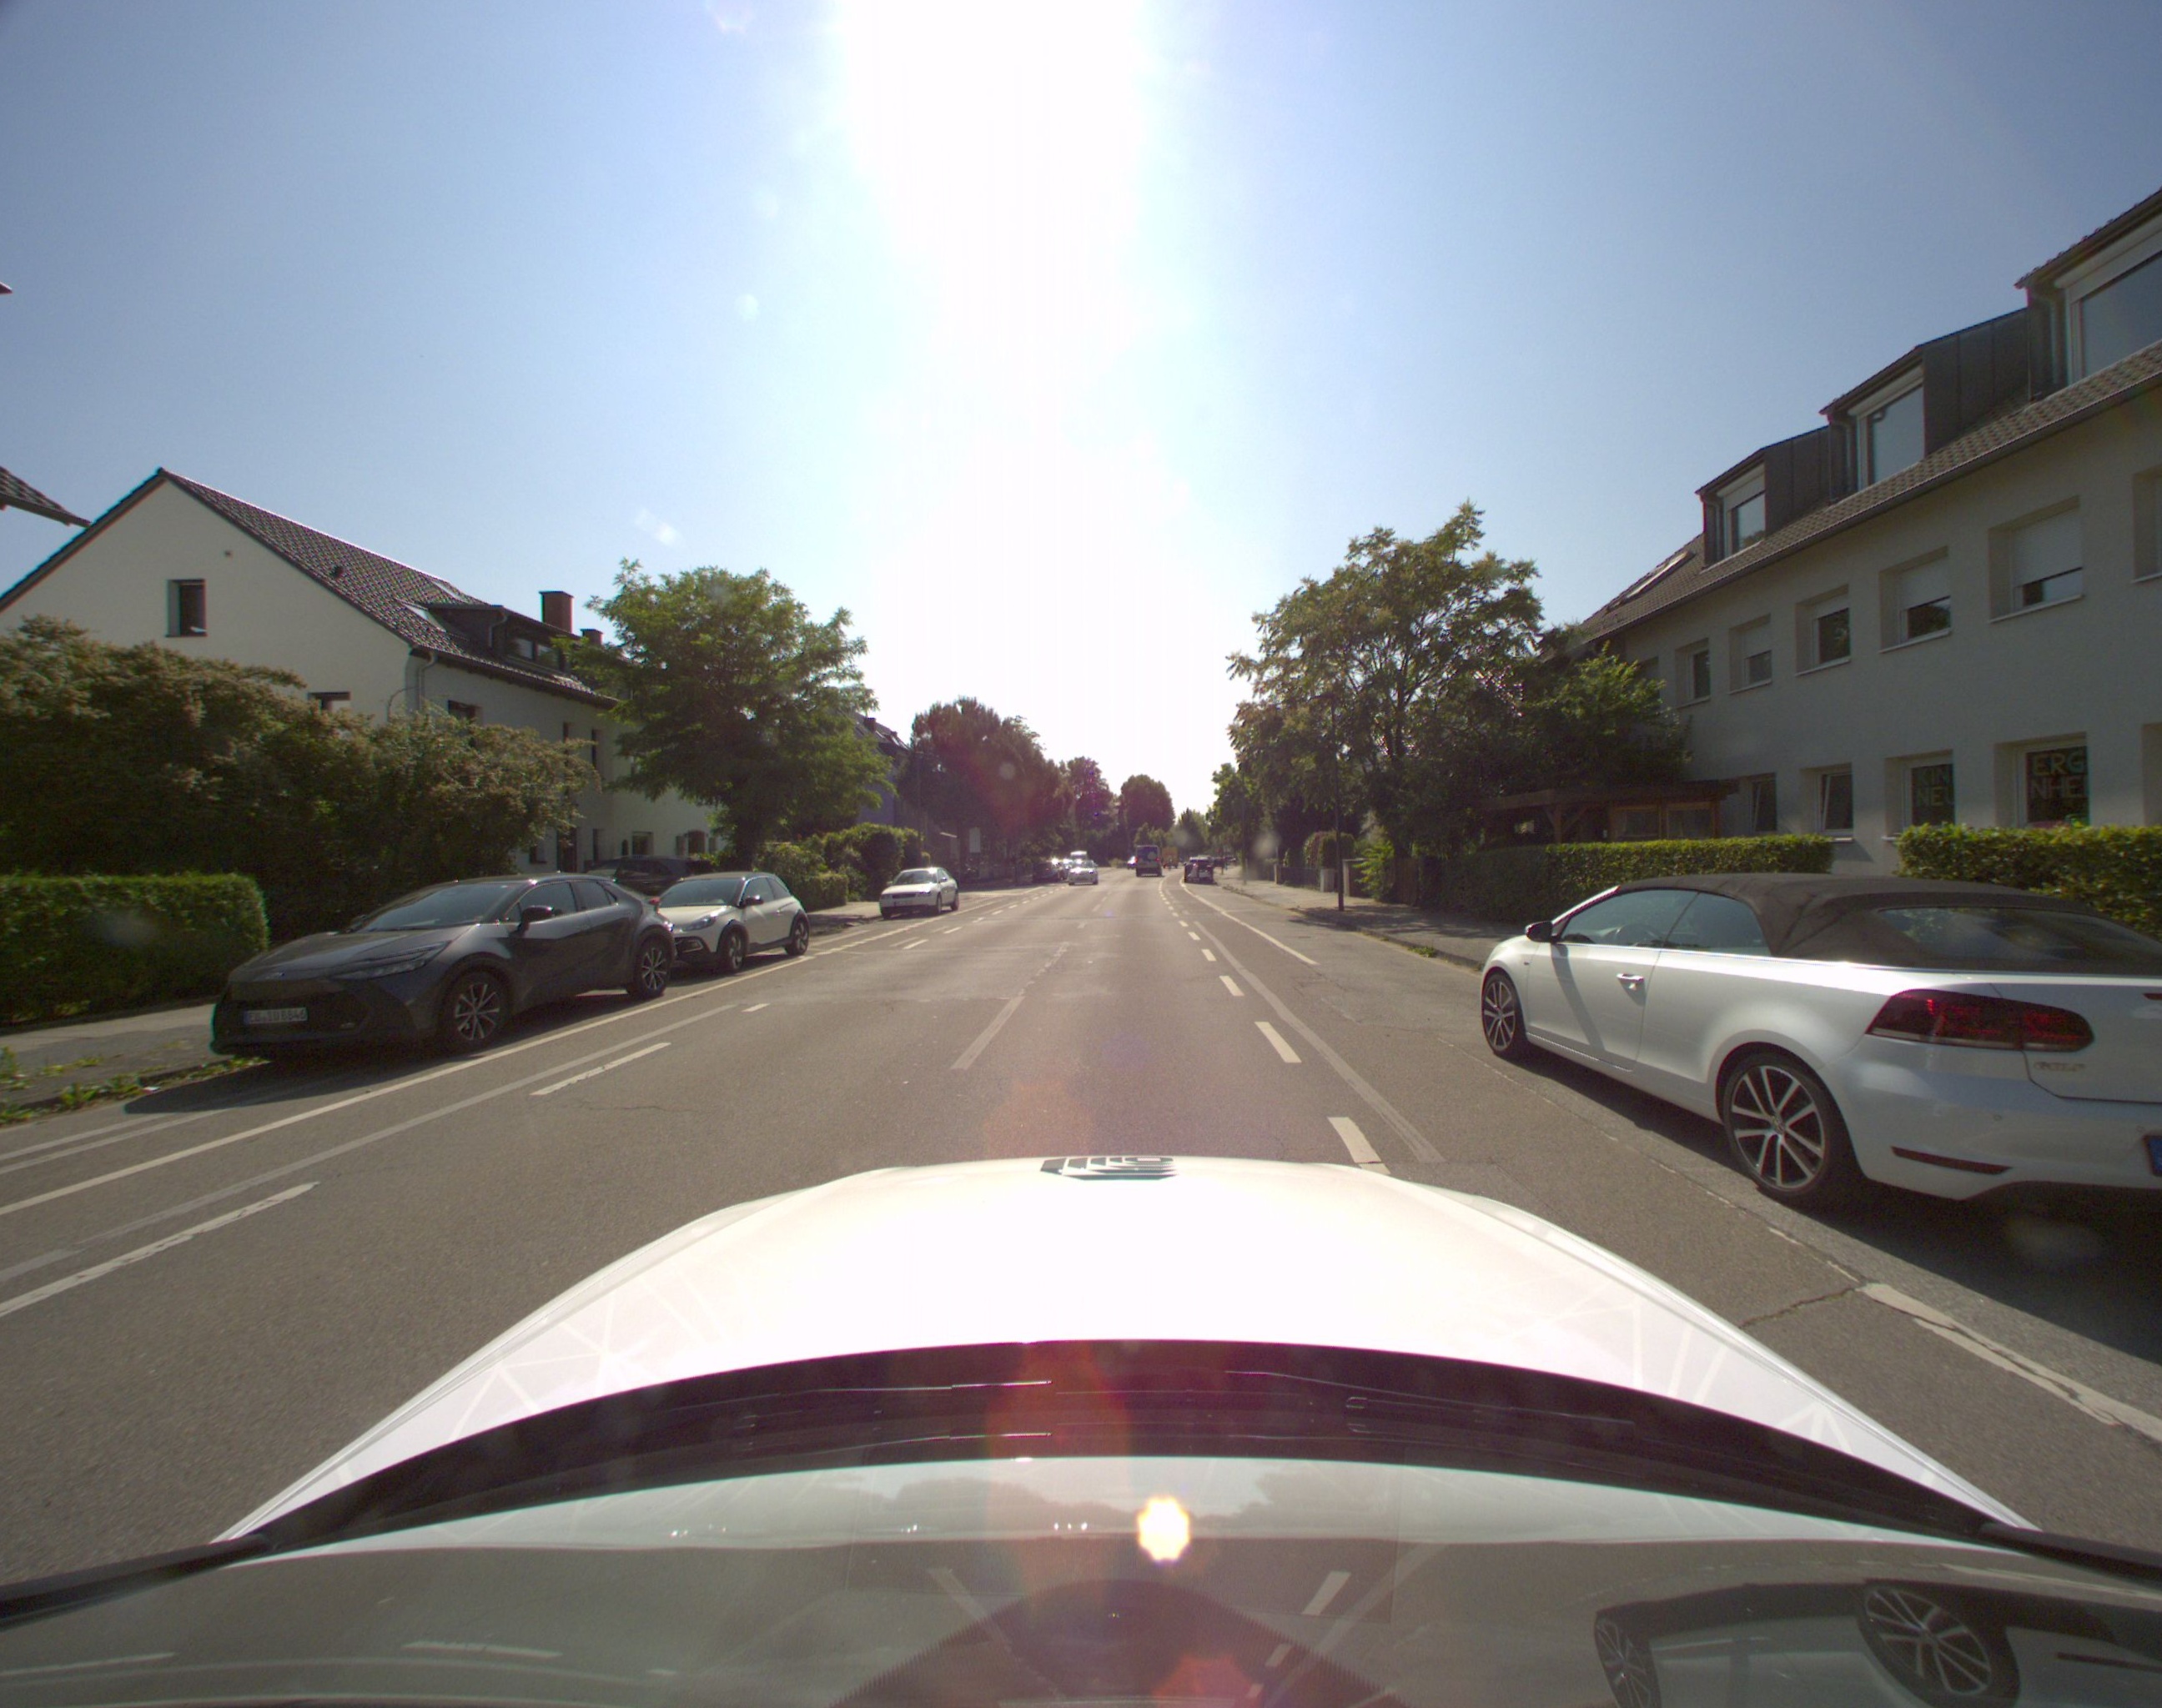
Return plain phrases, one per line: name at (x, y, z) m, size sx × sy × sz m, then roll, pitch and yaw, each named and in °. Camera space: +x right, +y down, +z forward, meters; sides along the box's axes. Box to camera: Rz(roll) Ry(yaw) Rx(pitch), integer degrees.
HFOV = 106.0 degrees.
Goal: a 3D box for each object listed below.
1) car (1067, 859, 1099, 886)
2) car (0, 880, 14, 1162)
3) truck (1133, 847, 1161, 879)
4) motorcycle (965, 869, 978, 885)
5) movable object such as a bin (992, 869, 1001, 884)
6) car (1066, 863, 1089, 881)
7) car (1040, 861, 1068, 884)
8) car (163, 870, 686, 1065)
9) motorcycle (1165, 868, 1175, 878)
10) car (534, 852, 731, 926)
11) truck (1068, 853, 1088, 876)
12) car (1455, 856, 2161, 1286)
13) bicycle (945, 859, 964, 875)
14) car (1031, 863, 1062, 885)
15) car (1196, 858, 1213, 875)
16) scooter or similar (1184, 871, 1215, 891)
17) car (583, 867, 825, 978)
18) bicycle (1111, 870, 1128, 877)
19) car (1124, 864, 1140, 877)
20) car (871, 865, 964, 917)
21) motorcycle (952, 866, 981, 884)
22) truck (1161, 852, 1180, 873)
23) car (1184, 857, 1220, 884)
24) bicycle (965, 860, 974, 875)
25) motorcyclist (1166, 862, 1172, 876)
car at (0.142, 1.131, 50.183) m, size 1.725 × 1.541 × 4.002 m, roll -2°, pitch -1°, yaw 3°
car at (-6.499, 0.863, 2.161) m, size 1.778 × 1.440 × 4.156 m, roll -2°, pitch -1°, yaw 2°
truck at (5.704, 0.798, 69.538) m, size 2.261 × 2.572 × 4.399 m, roll -1°, pitch -1°, yaw 6°
motorcycle at (-8.194, 1.709, 60.885) m, size 0.533 × 1.182 × 1.450 m, roll -1°, pitch -2°, yaw 10°
movable object such as a bin at (-6.475, 1.727, 62.224) m, size 0.540 × 1.111 × 0.586 m, roll -1°, pitch -2°, yaw 9°
car at (-0.293, 1.692, 76.299) m, size 1.826 × 1.595 × 3.780 m, roll -1°, pitch -2°, yaw 5°
car at (-2.161, 1.425, 65.390) m, size 1.901 × 1.677 × 4.260 m, roll -3°, pitch 0°, yaw 2°
car at (-6.092, 0.922, 8.345) m, size 1.777 × 1.440 × 4.116 m, roll -2°, pitch -1°, yaw 5°
motorcycle at (10.432, 2.236, 96.005) m, size 1.051 × 1.122 × 2.995 m, roll -1°, pitch -1°, yaw 4°
car at (-11.462, 0.878, 20.998) m, size 3.969 × 1.759 × 2.002 m, roll -1°, pitch -1°, yaw 4°
truck at (-0.283, 1.249, 94.212) m, size 2.073 × 2.537 × 5.468 m, roll -1°, pitch -1°, yaw 1°
car at (3.873, 0.736, 4.705) m, size 1.733 × 1.402 × 4.077 m, roll 1°, pitch 0°, yaw 3°
bicycle at (-10.114, 1.037, 65.324) m, size 0.532 × 1.181 × 1.455 m, roll -1°, pitch 1°, yaw 45°
car at (-2.464, 1.460, 59.439) m, size 1.773 × 1.460 × 4.089 m, roll -4°, pitch -1°, yaw 3°
car at (13.108, 1.319, 86.775) m, size 1.691 × 1.677 × 3.782 m, roll -1°, pitch -1°, yaw 7°
scooter or similar at (7.214, 1.657, 49.746) m, size 0.724 × 1.154 × 1.776 m, roll 4°, pitch -1°, yaw -41°
car at (-5.836, 0.979, 13.227) m, size 1.777 × 1.440 × 4.005 m, roll -3°, pitch -1°, yaw 4°
bicycle at (6.168, 3.104, 131.003) m, size 2.683 × 1.048 × 1.024 m, roll -1°, pitch -2°, yaw -5°
car at (7.063, 2.234, 111.975) m, size 1.984 × 1.657 × 4.610 m, roll -1°, pitch -1°, yaw 5°
car at (-4.948, 1.085, 25.237) m, size 1.777 × 1.440 × 4.004 m, roll -1°, pitch 0°, yaw 4°
motorcycle at (-7.739, 1.410, 55.153) m, size 1.828 × 1.182 × 0.644 m, roll -1°, pitch -2°, yaw 9°
truck at (12.659, 1.247, 114.764) m, size 2.200 × 2.947 × 5.702 m, roll -1°, pitch -1°, yaw 11°
car at (7.849, 1.083, 52.625) m, size 1.772 × 1.638 × 4.487 m, roll 1°, pitch -1°, yaw 15°
bicycle at (-9.120, 1.097, 66.384) m, size 0.538 × 1.182 × 1.438 m, roll 0°, pitch -2°, yaw -16°
motorcyclist at (10.375, 1.768, 95.913) m, size 0.669 × 1.519 × 0.653 m, roll -1°, pitch -2°, yaw 3°
